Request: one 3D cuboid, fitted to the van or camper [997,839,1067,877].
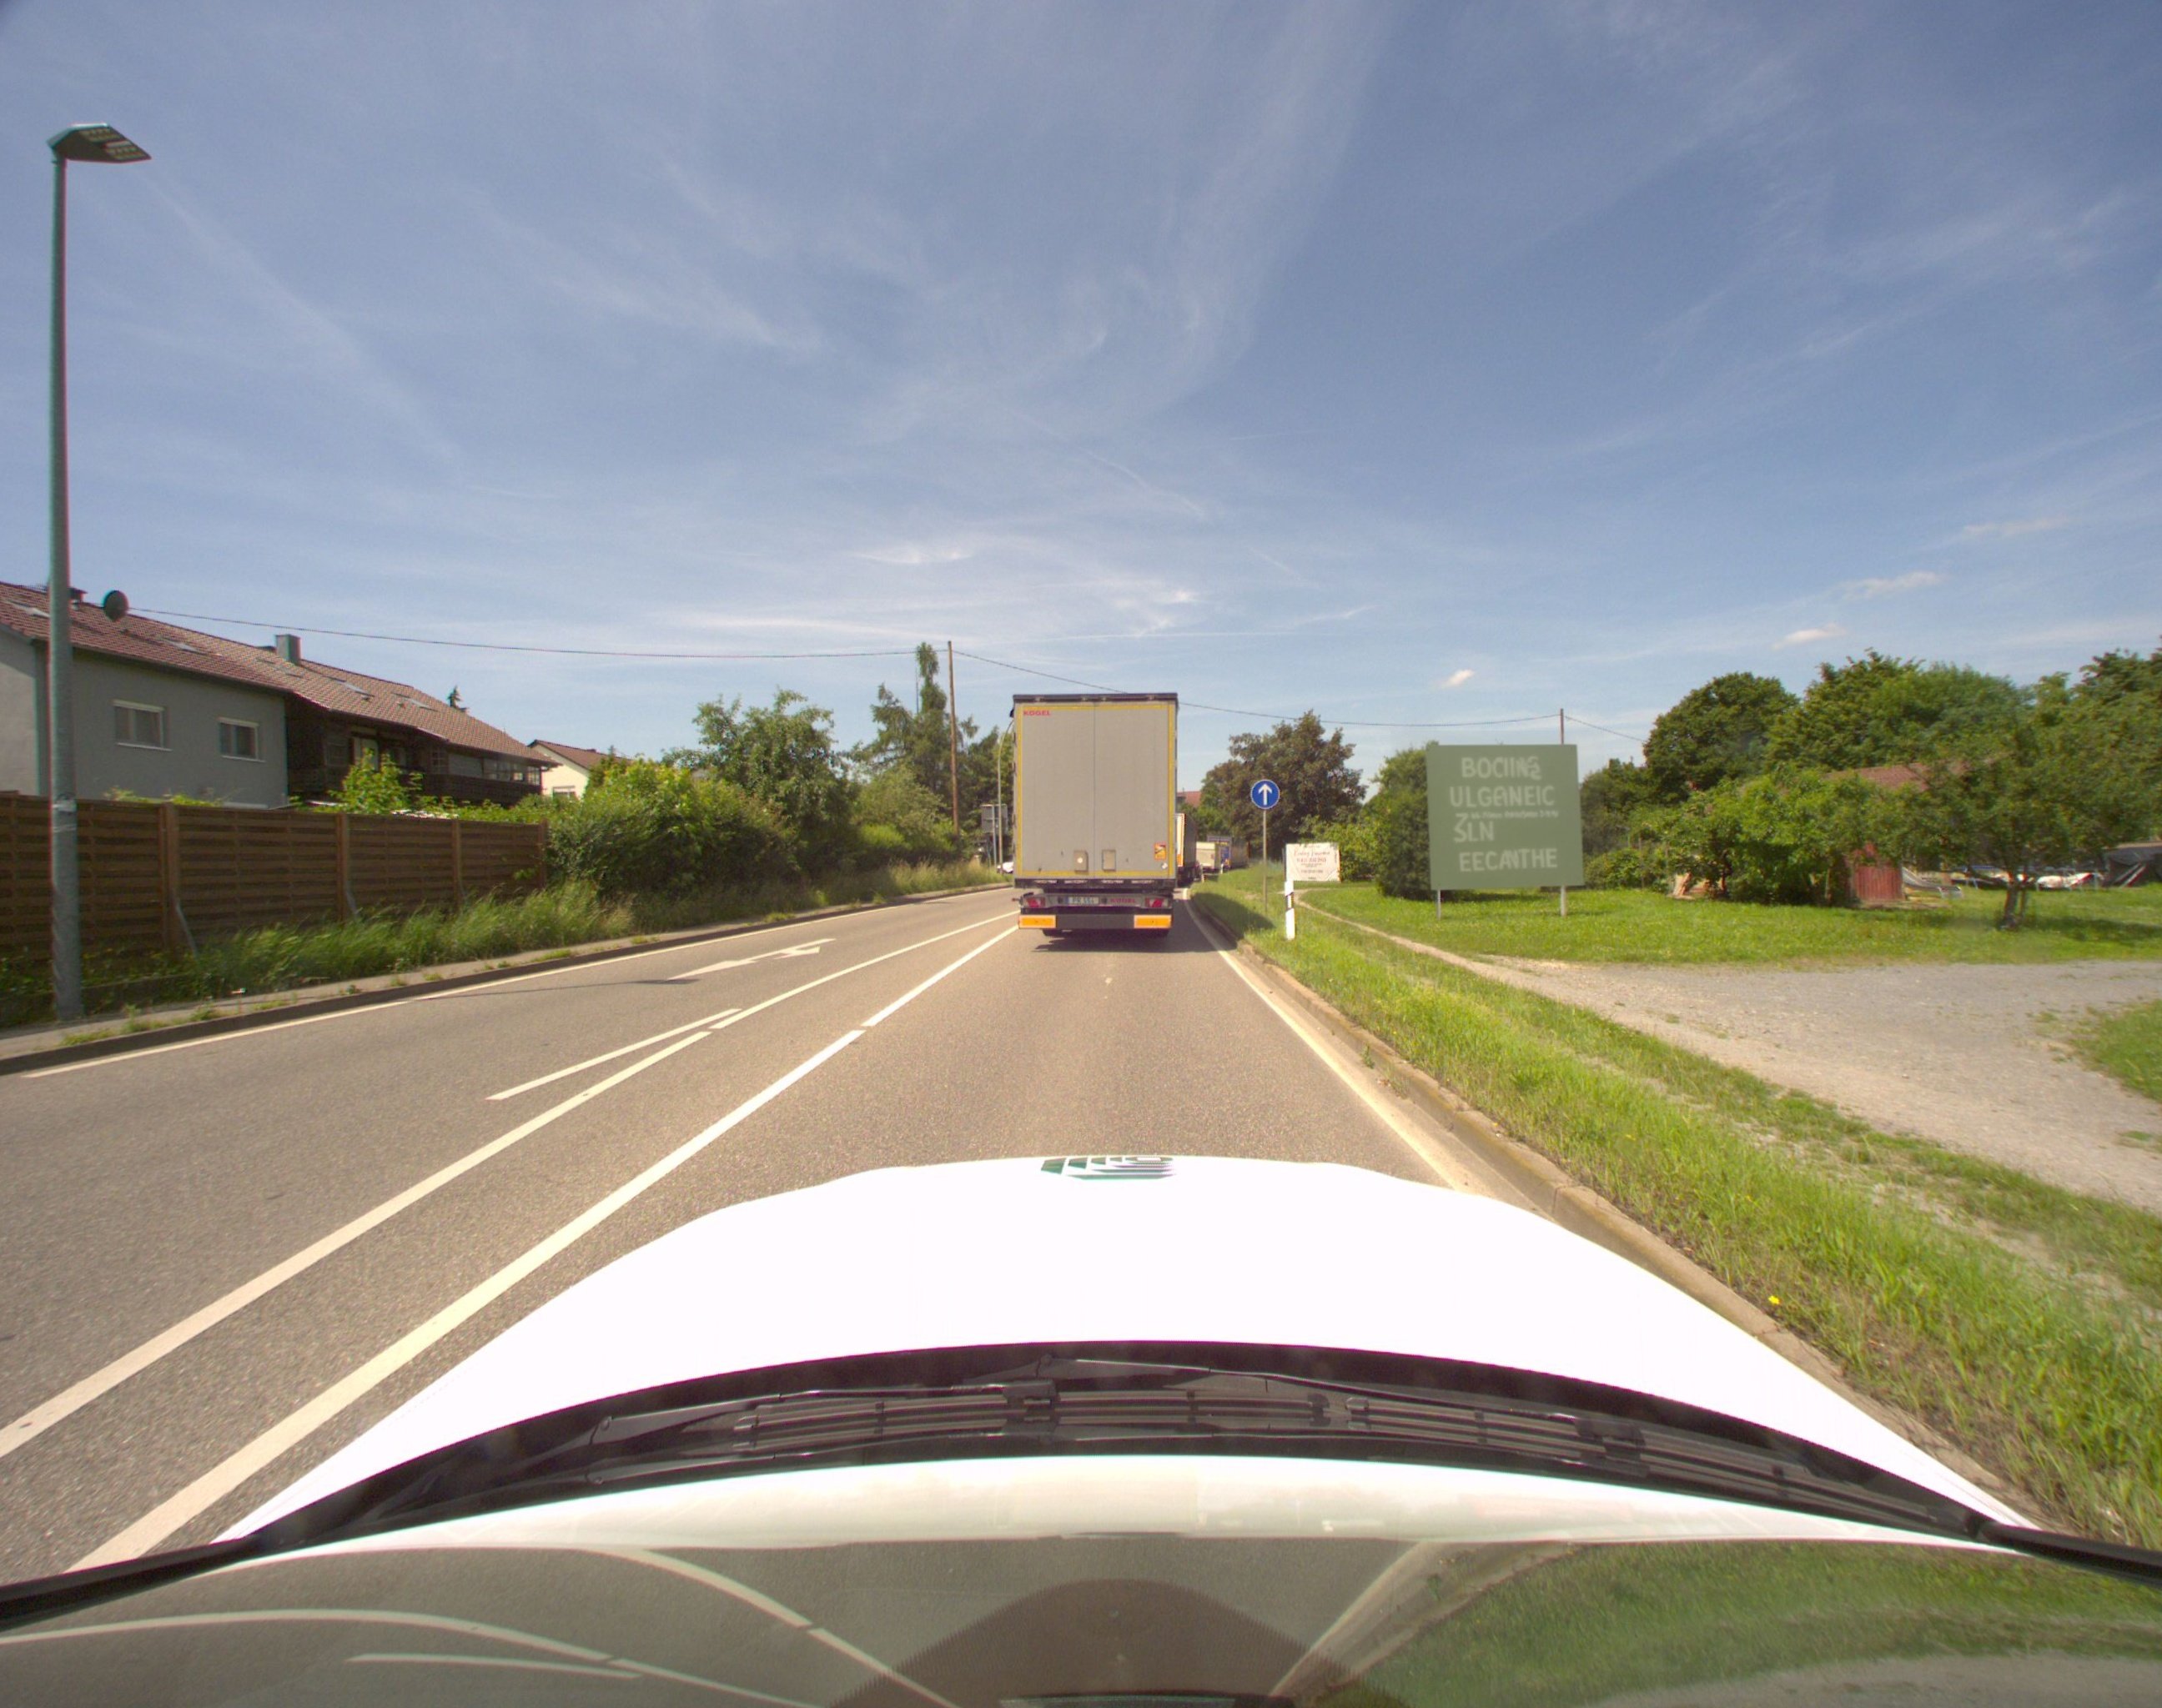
[{"bbox_3d":[-3.672,0.278,61.105,4.868,2.715,2.184,0,0,-18],"label":"van or camper"}]

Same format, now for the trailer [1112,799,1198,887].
[{"bbox_3d":[4.724,-0.536,48.517,3.866,4.521,12.750,-1,0,11],"label":"trailer"}]

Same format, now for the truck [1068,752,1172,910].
[{"bbox_3d":[1.357,-0.613,24.654,2.732,4.165,6.153,0,0,6],"label":"truck"}]

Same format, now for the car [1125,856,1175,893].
[{"bbox_3d":[3.180,0.882,36.990,1.982,1.530,4.010,0,0,8],"label":"car"}]

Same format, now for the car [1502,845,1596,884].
[{"bbox_3d":[25.293,0.556,44.113,3.963,2.013,2.005,0,0,9],"label":"car"}]

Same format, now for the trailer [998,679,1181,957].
[{"bbox_3d":[0.722,-0.582,18.451,2.773,4.205,12.130,0,0,6],"label":"trailer"}]

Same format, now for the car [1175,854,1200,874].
[{"bbox_3d":[8.589,0.787,65.449,1.830,1.486,4.011,0,0,9],"label":"car"}]

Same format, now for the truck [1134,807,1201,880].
[{"bbox_3d":[6.036,-0.658,55.591,3.912,4.575,7.172,-1,0,10],"label":"truck"}]

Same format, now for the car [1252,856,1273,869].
[{"bbox_3d":[24.902,1.099,111.784,1.975,1.684,4.023,0,0,25],"label":"car"}]

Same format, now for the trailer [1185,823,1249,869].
[{"bbox_3d":[15.386,-0.831,90.623,5.140,4.628,15.963,0,0,16],"label":"trailer"}]

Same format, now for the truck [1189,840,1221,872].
[{"bbox_3d":[11.488,0.165,75.052,2.403,2.838,5.433,0,0,14],"label":"truck"}]
